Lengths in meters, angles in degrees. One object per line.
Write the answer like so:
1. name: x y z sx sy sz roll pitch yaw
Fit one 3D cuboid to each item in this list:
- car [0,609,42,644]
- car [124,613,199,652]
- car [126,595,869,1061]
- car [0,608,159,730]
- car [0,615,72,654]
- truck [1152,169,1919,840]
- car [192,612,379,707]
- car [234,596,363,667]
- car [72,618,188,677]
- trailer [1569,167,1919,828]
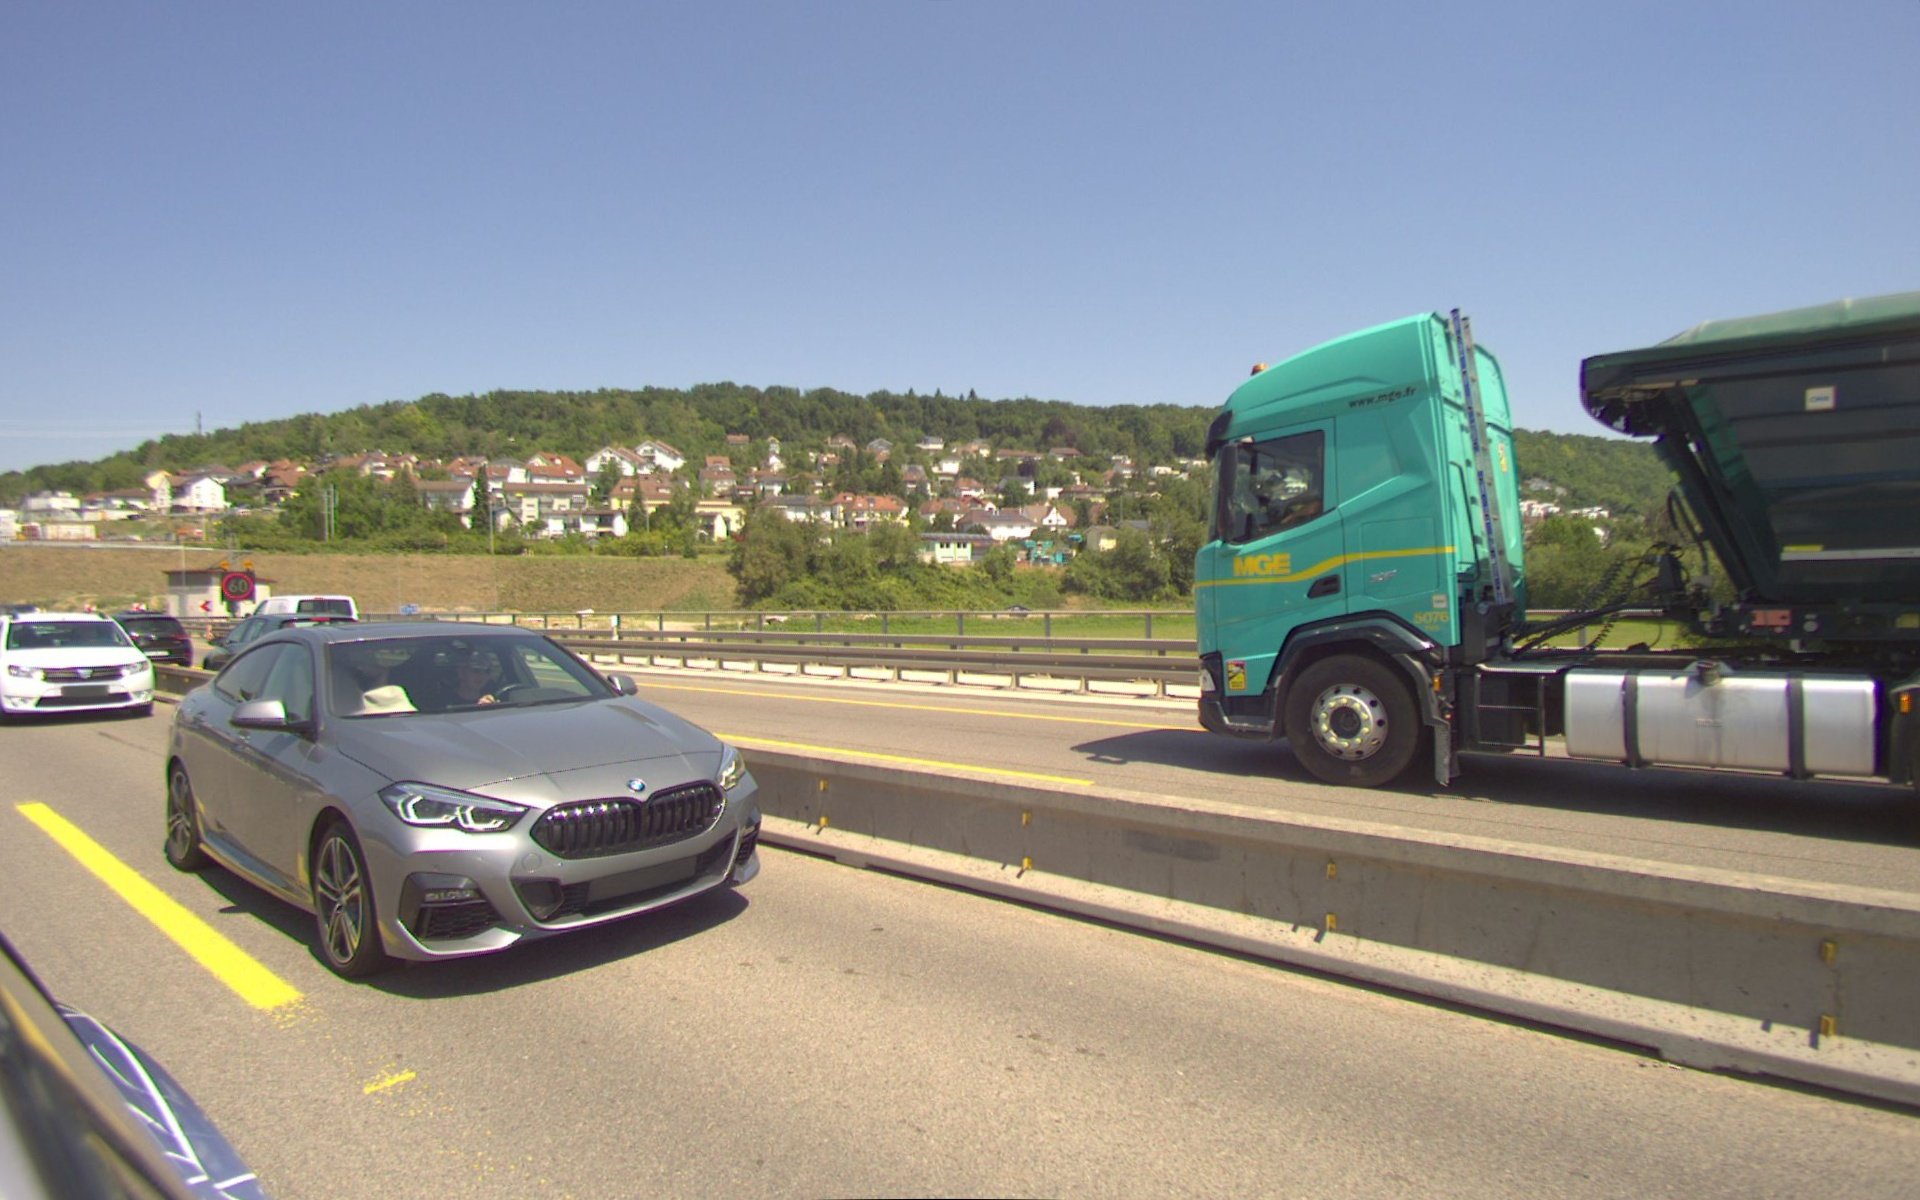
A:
1. car: -56.317 1.566 60.223 4.935 1.948 1.904 -1 1 41
2. car: -34.085 1.356 43.170 3.997 1.581 1.795 -1 -2 41
3. car: -2.800 0.762 5.441 4.739 1.463 1.833 -1 -1 41
4. car: -13.525 0.899 15.071 4.705 1.542 1.799 0 0 43
5. car: -36.111 1.323 39.336 4.655 1.429 1.806 -1 -2 42
6. truck: 4.623 -0.512 8.137 5.371 3.750 2.768 -1 0 41
7. car: -11.532 0.951 17.211 4.101 1.419 1.614 -1 -2 41
8. car: -18.930 0.884 28.895 4.626 1.882 1.840 -1 -2 40
9. car: -21.633 1.197 26.337 4.154 1.402 1.661 -1 -2 41
10. trailer: 8.384 -0.614 4.927 8.950 3.700 2.766 -1 -1 40
